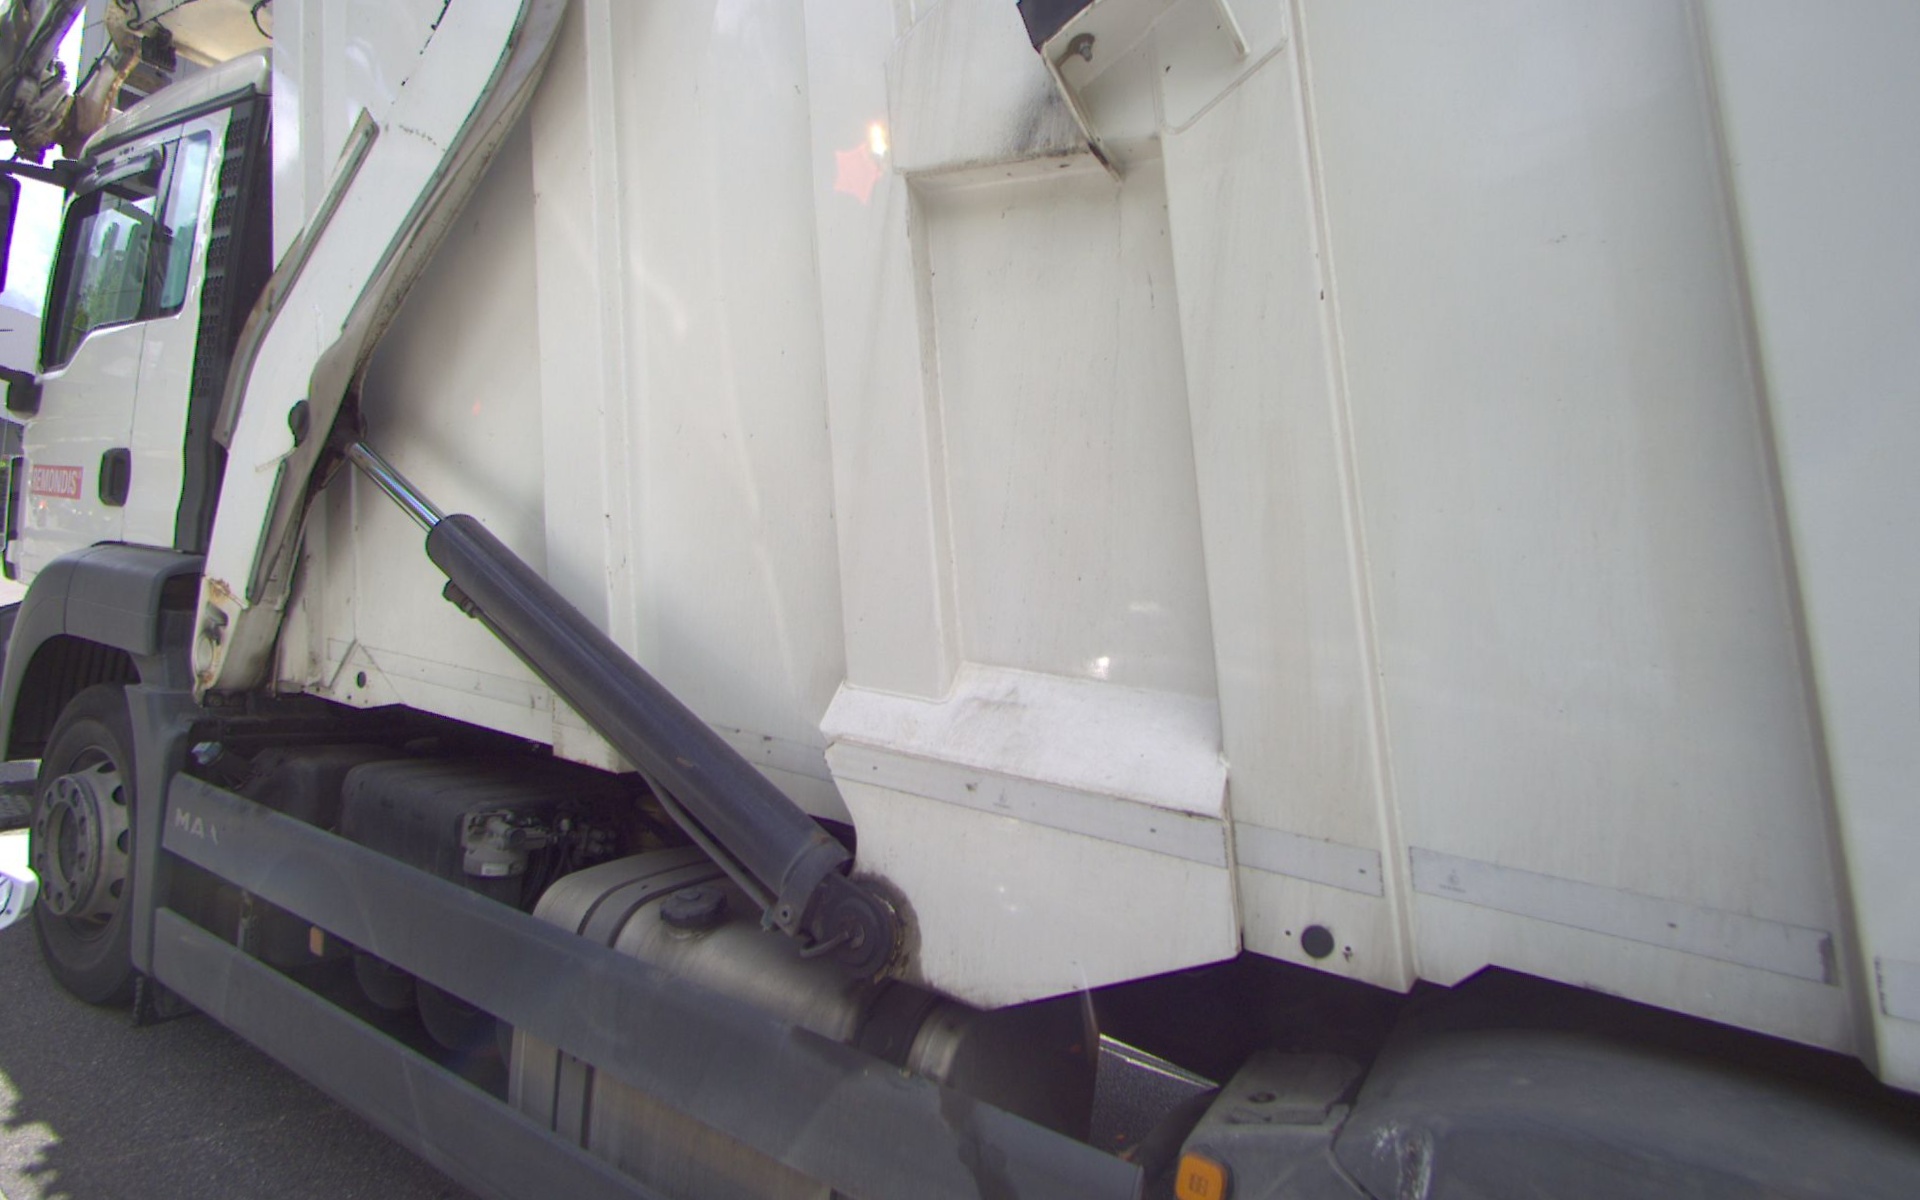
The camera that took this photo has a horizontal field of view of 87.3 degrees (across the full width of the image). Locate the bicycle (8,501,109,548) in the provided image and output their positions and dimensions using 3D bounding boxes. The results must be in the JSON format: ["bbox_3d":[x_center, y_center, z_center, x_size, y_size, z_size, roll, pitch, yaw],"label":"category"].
[{"bbox_3d":[-27.986,-2.337,31.264,2.197,1.099,0.474,8,-1,-23],"label":"bicycle"}]

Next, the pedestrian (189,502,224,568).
[{"bbox_3d":[-22.093,-1.904,29.505,0.706,1.818,0.635,4,4,-41],"label":"pedestrian"}]

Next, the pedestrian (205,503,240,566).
[{"bbox_3d":[-22.309,-1.984,30.439,0.704,1.818,0.687,4,3,-33],"label":"pedestrian"}]

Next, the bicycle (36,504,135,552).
[{"bbox_3d":[-27.031,-2.215,31.140,2.166,1.099,0.474,8,-1,-23],"label":"bicycle"}]

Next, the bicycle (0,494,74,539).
[{"bbox_3d":[-29.297,-2.641,31.488,2.197,1.099,0.474,8,-1,-23],"label":"bicycle"}]

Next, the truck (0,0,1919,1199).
[{"bbox_3d":[1.083,-0.288,2.154,10.003,3.958,2.494,6,-1,31],"label":"truck"}]
